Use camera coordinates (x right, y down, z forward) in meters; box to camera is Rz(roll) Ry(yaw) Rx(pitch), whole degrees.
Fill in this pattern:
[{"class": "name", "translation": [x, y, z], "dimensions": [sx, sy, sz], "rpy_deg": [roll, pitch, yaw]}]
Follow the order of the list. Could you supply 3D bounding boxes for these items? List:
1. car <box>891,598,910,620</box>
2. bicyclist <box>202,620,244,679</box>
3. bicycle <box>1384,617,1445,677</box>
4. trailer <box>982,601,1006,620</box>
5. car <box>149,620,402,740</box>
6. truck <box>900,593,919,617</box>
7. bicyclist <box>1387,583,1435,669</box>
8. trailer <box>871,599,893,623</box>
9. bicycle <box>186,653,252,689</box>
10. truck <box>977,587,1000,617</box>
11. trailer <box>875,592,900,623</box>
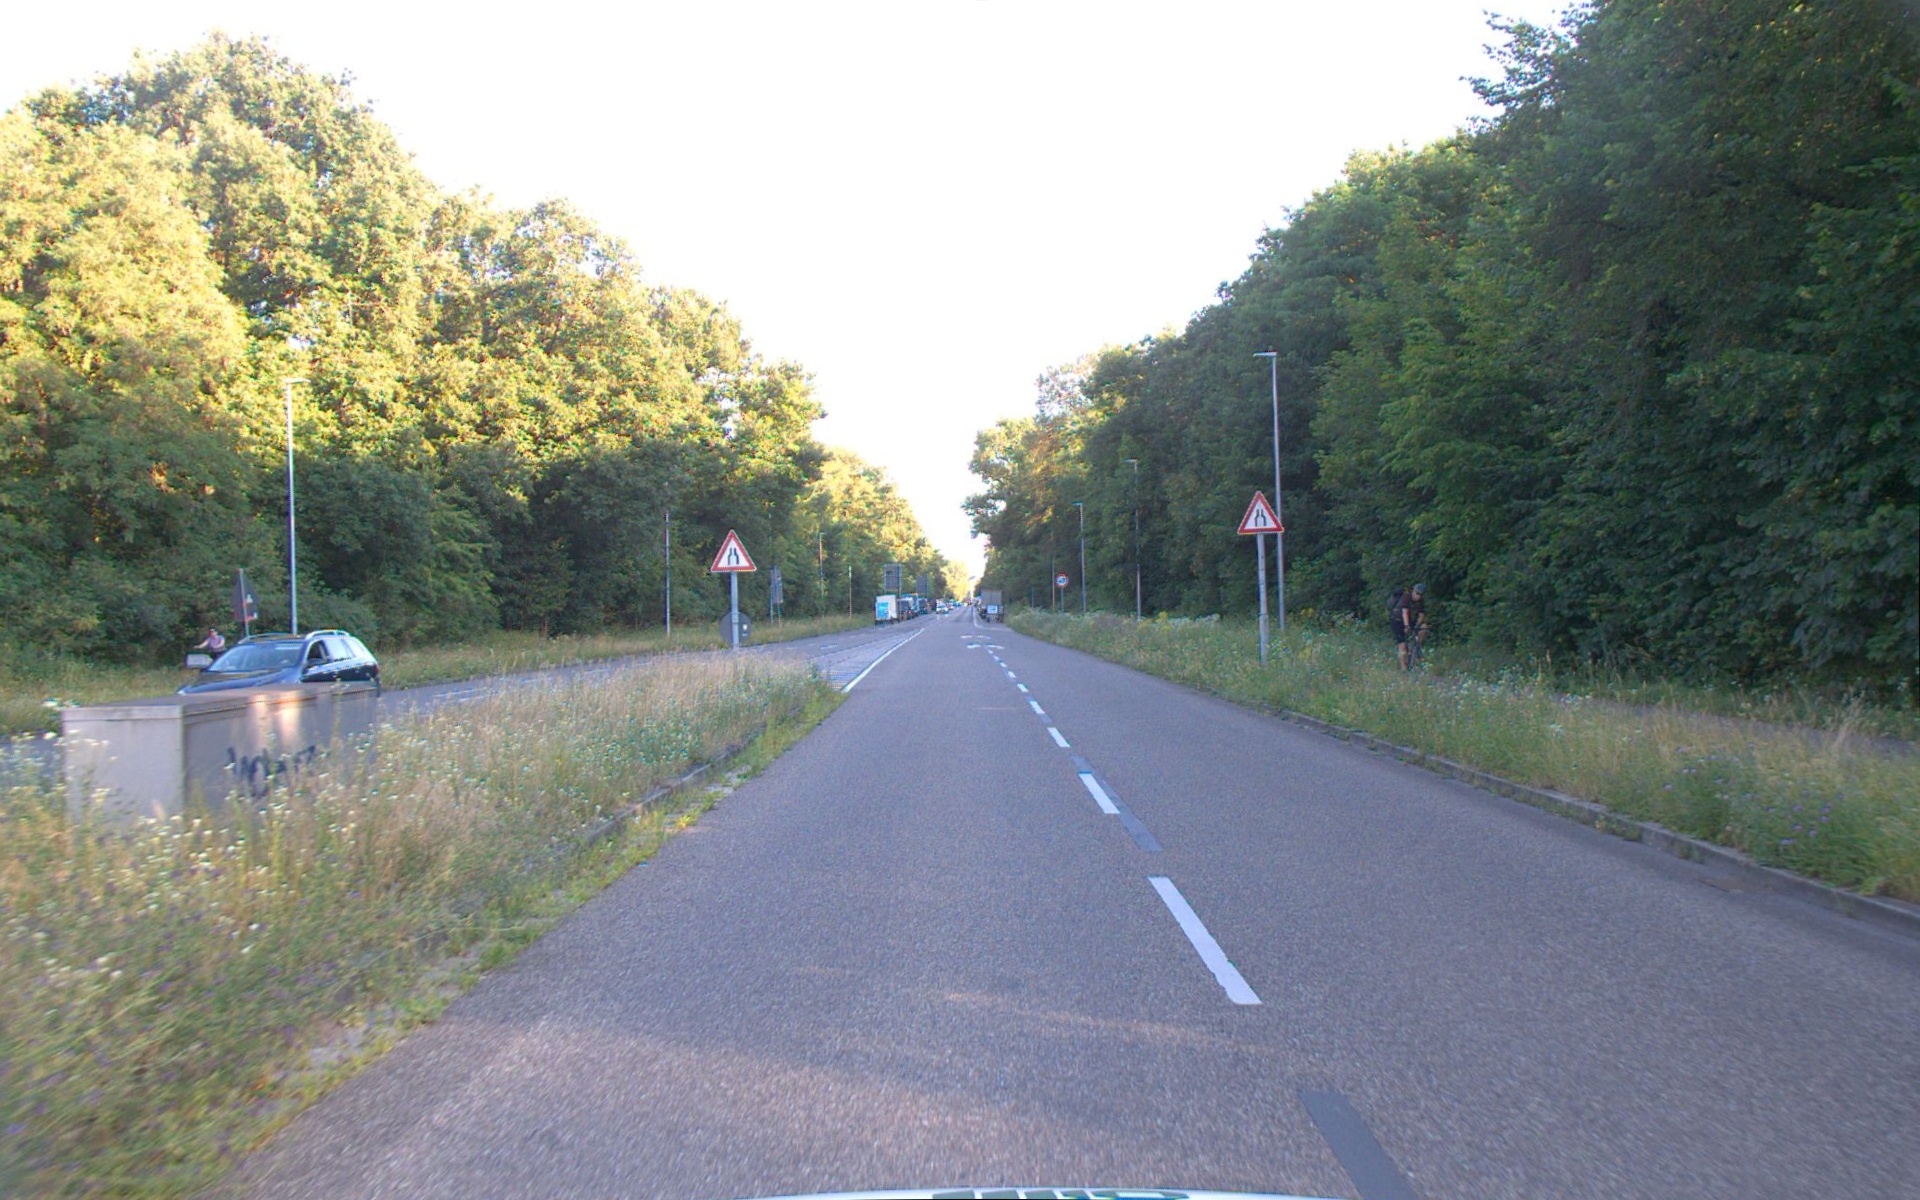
[{"class": "car", "translation": [-7.070, 1.061, 197.599], "dimensions": [1.953, 2.405, 5.765], "rpy_deg": [-4, 0, 0]}, {"class": "bicyclist", "translation": [-18.565, 1.245, 41.670], "dimensions": [0.573, 1.454, 0.823], "rpy_deg": [-2, 0, 6]}, {"class": "bicycle", "translation": [7.969, 0.812, 29.075], "dimensions": [0.598, 1.013, 1.691], "rpy_deg": [-2, -1, 1]}, {"class": "trailer", "translation": [3.251, 1.017, 156.445], "dimensions": [1.425, 1.691, 3.780], "rpy_deg": [-2, 0, 13]}, {"class": "car", "translation": [-10.560, 1.177, 25.903], "dimensions": [1.781, 1.560, 4.457], "rpy_deg": [-3, 0, 4]}, {"class": "truck", "translation": [-7.282, 0.697, 240.688], "dimensions": [2.453, 3.387, 6.841], "rpy_deg": [-2, 0, 0]}, {"class": "bicyclist", "translation": [7.956, 0.460, 29.194], "dimensions": [0.591, 1.480, 0.780], "rpy_deg": [-2, 0, 1]}, {"class": "trailer", "translation": [-7.378, 1.060, 156.638], "dimensions": [1.780, 2.205, 4.142], "rpy_deg": [-2, 0, -1]}, {"class": "bicycle", "translation": [-18.630, 1.774, 41.600], "dimensions": [0.573, 0.818, 1.960], "rpy_deg": [-2, 0, 6]}, {"class": "truck", "translation": [3.324, 0.281, 188.813], "dimensions": [2.535, 3.312, 7.222], "rpy_deg": [0, 0, 2]}, {"class": "trailer", "translation": [-7.518, 0.759, 172.251], "dimensions": [2.279, 2.975, 5.626], "rpy_deg": [-3, 0, 0]}]
